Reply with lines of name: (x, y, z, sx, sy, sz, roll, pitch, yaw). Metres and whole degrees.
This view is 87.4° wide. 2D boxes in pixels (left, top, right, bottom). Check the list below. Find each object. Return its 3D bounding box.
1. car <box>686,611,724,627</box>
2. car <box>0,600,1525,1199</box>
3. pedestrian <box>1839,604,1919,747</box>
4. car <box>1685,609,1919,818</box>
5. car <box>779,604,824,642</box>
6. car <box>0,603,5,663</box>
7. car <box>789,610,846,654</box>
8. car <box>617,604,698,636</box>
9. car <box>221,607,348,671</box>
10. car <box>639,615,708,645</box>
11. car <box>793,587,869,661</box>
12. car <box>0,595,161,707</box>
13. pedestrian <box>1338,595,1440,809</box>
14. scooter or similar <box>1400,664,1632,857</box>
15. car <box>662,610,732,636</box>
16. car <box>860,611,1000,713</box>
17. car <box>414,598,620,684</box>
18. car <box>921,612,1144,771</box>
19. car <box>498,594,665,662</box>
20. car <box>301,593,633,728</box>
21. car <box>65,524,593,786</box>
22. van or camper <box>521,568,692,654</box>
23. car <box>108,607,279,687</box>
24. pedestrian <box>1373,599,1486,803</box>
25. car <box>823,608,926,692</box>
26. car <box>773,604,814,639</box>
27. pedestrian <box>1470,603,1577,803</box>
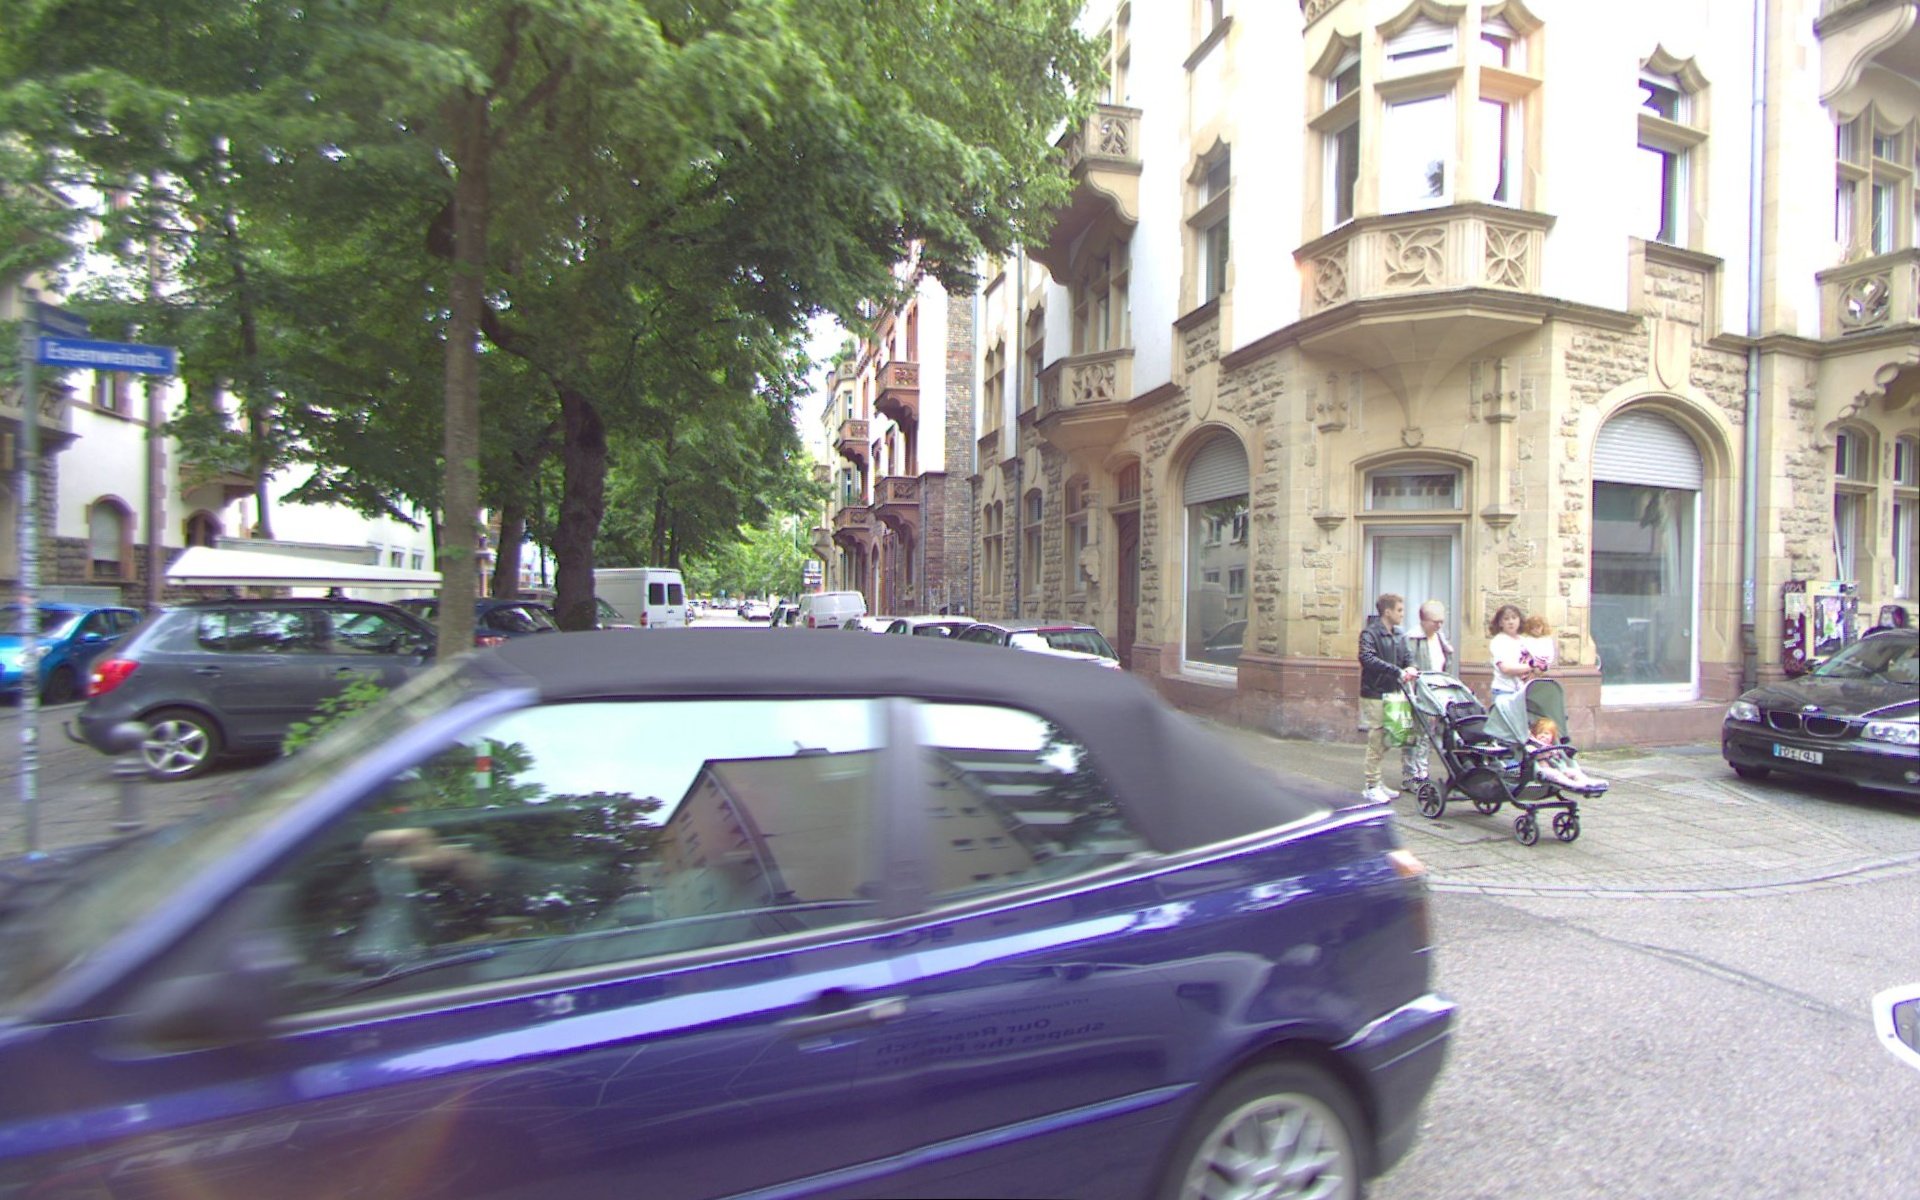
car: (-19.016, 1.423, 74.914, 2.532, 1.149, 1.248, 2, 1, -32)
car: (-0.747, 0.759, 2.305, 3.801, 1.432, 1.703, 2, -1, -26)
pedestrian: (10.223, 0.818, 11.149, 0.539, 1.539, 0.514, 1, 0, -23)
car: (8.795, 0.933, 9.131, 3.942, 1.514, 1.706, 2, 1, -22)
car: (-6.705, 0.939, 42.242, 1.690, 1.529, 3.548, 1, 0, -12)
car: (-13.082, 0.736, 11.187, 1.636, 1.486, 4.271, 4, -1, -16)
car: (-4.932, 1.064, 34.523, 1.690, 1.417, 3.311, 1, 0, -12)
car: (-14.723, 0.942, 48.964, 3.299, 1.476, 1.899, 1, 0, 13)
car: (-16.713, 0.927, 25.039, 1.553, 1.367, 3.379, 4, -1, -16)
car: (-17.483, 1.829, 61.384, 3.698, 1.692, 1.728, 2, 1, -32)
car: (-4.007, 0.688, 30.857, 1.879, 2.034, 3.523, 2, 1, -14)
car: (-14.478, 0.724, 15.857, 1.636, 1.486, 3.379, 4, -1, -16)
pedestrian: (3.482, 0.805, 8.180, 0.519, 1.665, 0.528, 1, 2, -11)
scooter or similar: (3.987, 1.103, 7.343, 0.664, 1.119, 1.470, 1, 2, -11)
car: (-11.851, 1.020, 45.316, 2.801, 1.010, 1.260, 3, 1, 16)
car: (-0.600, 0.955, 16.736, 1.621, 1.479, 3.492, 1, 0, -14)
car: (-8.588, 0.741, 19.471, 3.591, 1.500, 1.777, 1, 0, 27)
car: (0.691, 0.930, 11.917, 1.621, 1.480, 3.570, -1, 1, -14)
car: (-9.603, 0.691, 25.505, 3.686, 1.537, 1.757, 2, -1, 21)
car: (-6.221, 0.704, 12.818, 3.539, 1.536, 1.655, 1, 0, 13)
car: (-5.763, 0.440, 9.563, 3.924, 1.994, 1.814, 1, 0, -36)
van or camper: (-11.042, 0.317, 31.328, 5.202, 2.494, 2.071, 1, 0, 28)
car: (-15.463, 0.901, 20.470, 1.553, 1.367, 3.379, 4, -1, -16)
pedestrian: (3.988, 0.831, 8.563, 0.593, 1.665, 0.617, 1, 1, -11)
car: (-1.877, 0.988, 21.195, 1.621, 1.480, 3.492, 2, 1, -14)
car: (-7.839, 0.983, 47.071, 1.690, 1.529, 3.548, 1, 0, -12)
pedestrian: (4.801, 0.844, 8.597, 0.656, 1.615, 0.631, 1, 1, 18)
